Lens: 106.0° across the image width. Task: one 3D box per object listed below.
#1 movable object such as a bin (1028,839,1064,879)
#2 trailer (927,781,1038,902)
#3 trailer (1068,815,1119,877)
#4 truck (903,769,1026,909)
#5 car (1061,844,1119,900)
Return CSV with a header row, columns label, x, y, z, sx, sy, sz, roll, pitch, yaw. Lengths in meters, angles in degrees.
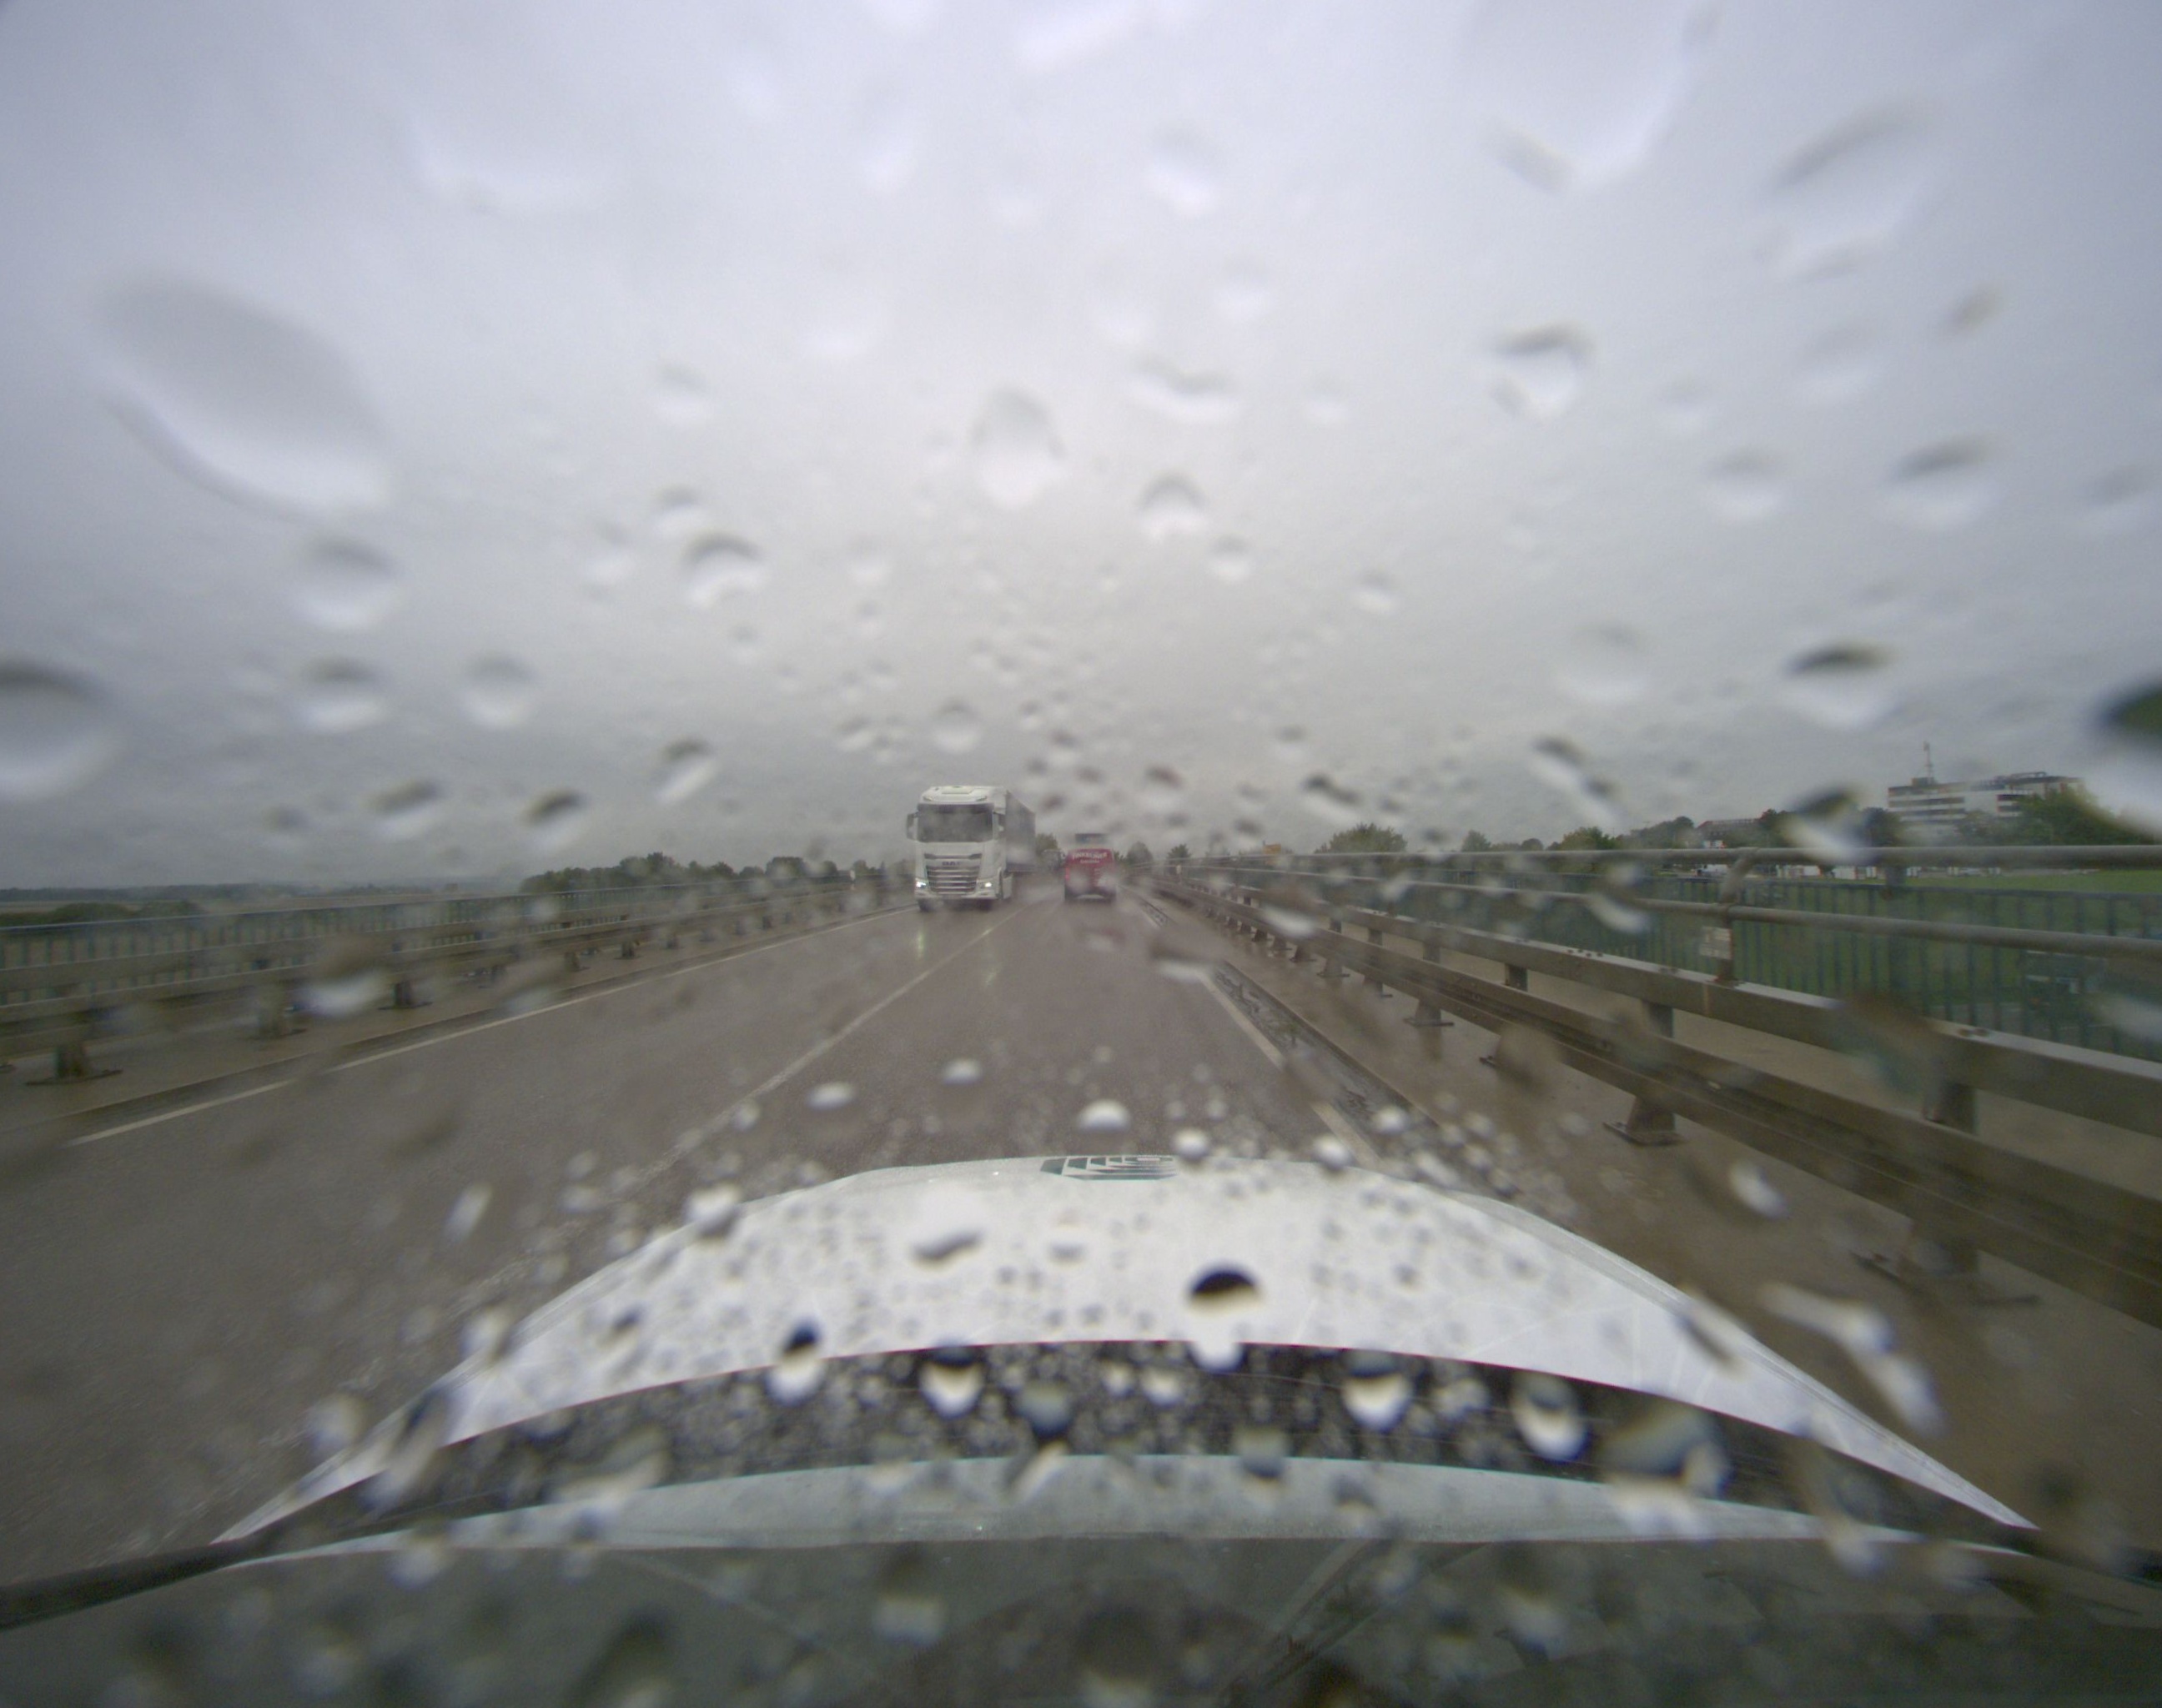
label,x,y,z,sx,sy,sz,roll,pitch,yaw
movable object such as a bin,-3.067,0.453,72.573,2.737,3.445,4.646,-2,-1,3
trailer,-3.626,-0.384,33.784,2.808,3.970,13.734,-1,0,0
trailer,0.790,-0.438,56.988,3.192,3.922,8.736,2,-1,-1
truck,-3.661,-0.413,27.883,2.808,3.970,8.763,-1,0,0
car,0.316,0.596,30.310,1.987,1.925,4.143,0,0,0
